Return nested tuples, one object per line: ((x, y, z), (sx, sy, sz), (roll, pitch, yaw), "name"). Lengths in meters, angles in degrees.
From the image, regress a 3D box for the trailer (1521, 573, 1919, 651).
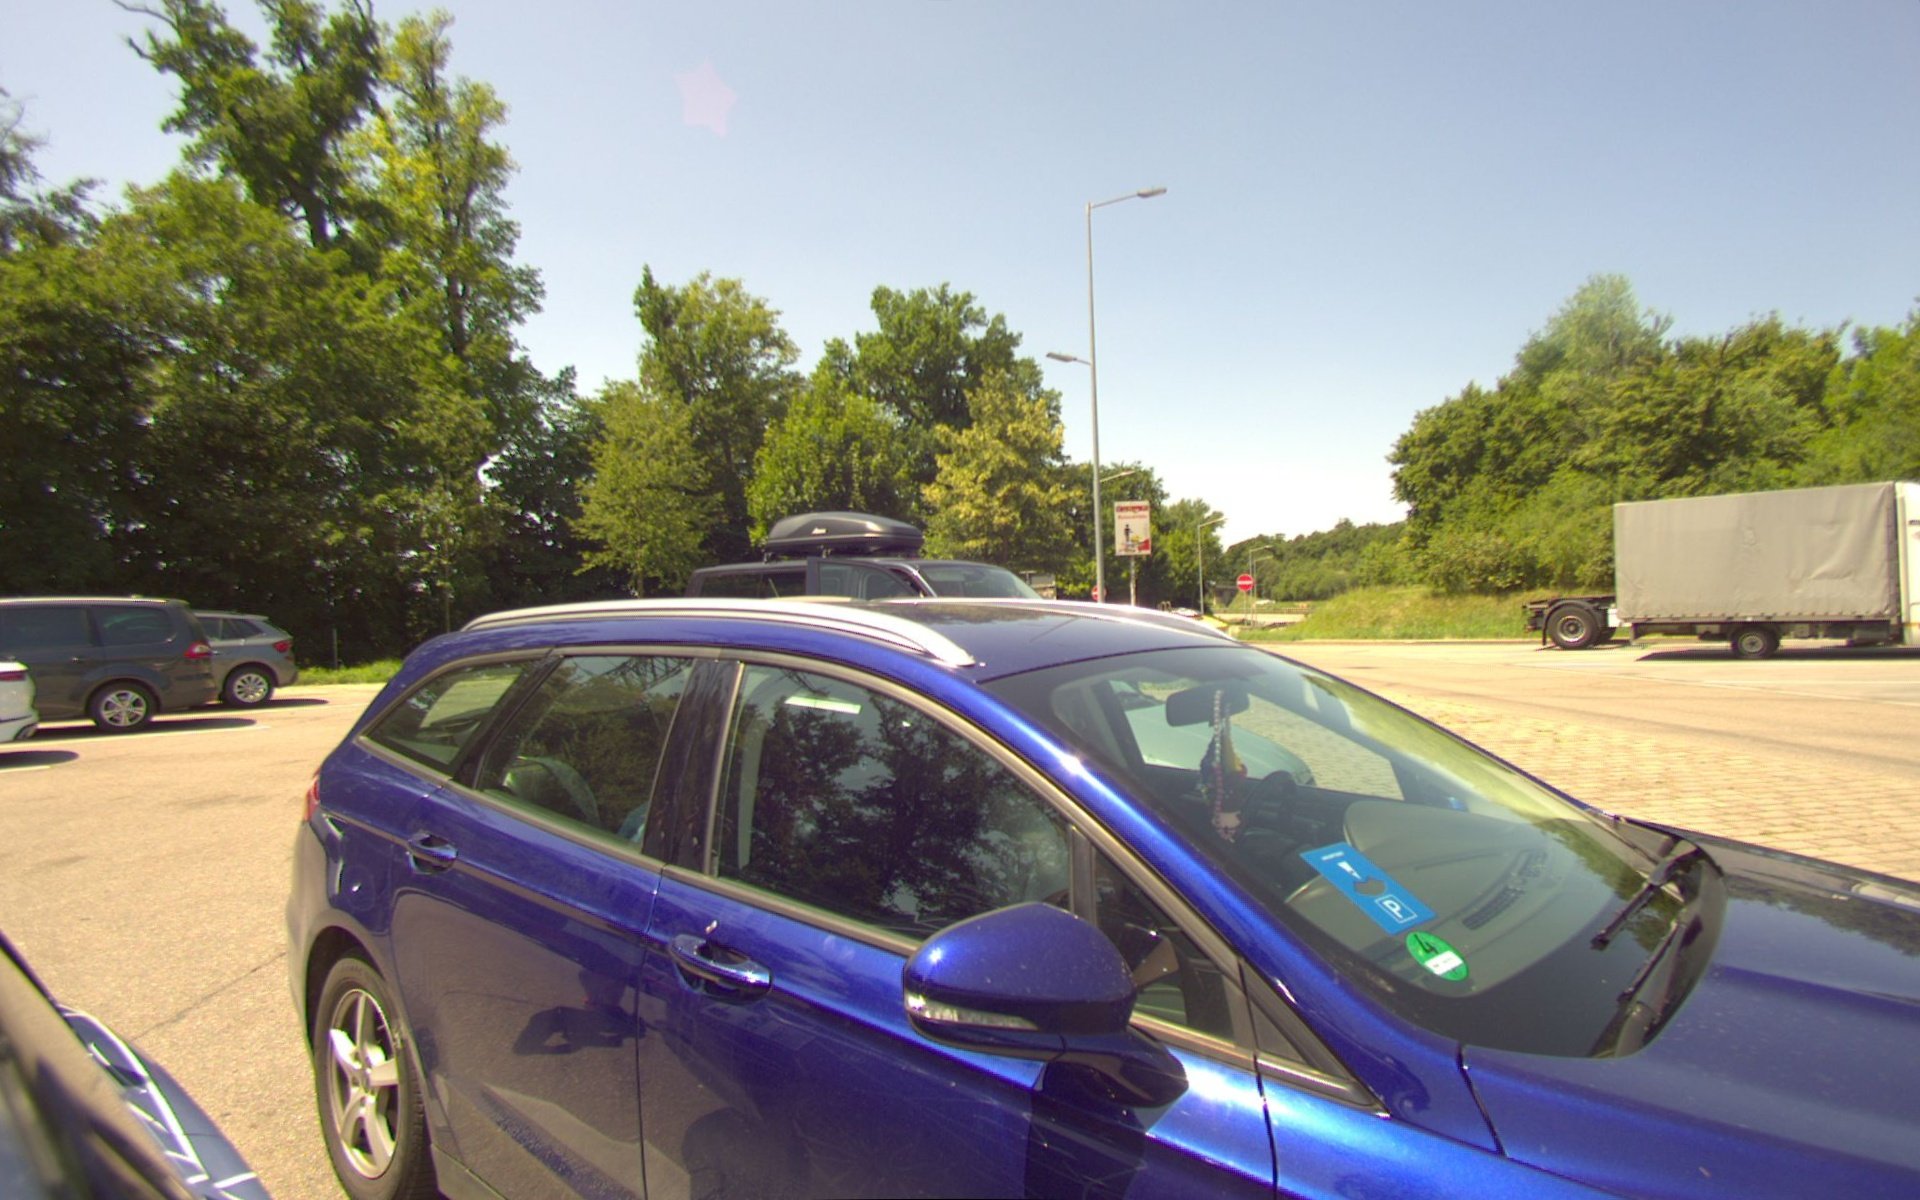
((17.641, 0.309, 23.159), (8.088, 1.385, 2.200), (-4, -1, 41), "trailer")

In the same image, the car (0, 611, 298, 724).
((-12.588, 0.957, 15.706), (3.762, 1.551, 1.724), (0, -1, -38), "car")

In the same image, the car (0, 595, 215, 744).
((-11.649, 0.824, 12.625), (3.762, 1.737, 1.724), (0, -1, -38), "car")

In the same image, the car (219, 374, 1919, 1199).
((0.253, 0.635, 2.076), (4.637, 1.493, 1.720), (-2, -1, 39), "car")

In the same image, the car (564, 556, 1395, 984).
((-0.209, 0.672, 5.788), (4.637, 1.545, 1.720), (-2, 0, 39), "car")

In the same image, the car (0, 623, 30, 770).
((-10.990, 0.934, 9.161), (3.767, 1.396, 1.722), (0, -1, -44), "car")

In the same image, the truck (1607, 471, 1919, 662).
((16.712, -0.603, 18.937), (7.337, 3.235, 2.502), (-4, -1, 41), "truck")

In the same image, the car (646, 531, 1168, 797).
((-0.653, 0.510, 9.362), (4.635, 1.884, 1.937), (-2, 0, 37), "car")
